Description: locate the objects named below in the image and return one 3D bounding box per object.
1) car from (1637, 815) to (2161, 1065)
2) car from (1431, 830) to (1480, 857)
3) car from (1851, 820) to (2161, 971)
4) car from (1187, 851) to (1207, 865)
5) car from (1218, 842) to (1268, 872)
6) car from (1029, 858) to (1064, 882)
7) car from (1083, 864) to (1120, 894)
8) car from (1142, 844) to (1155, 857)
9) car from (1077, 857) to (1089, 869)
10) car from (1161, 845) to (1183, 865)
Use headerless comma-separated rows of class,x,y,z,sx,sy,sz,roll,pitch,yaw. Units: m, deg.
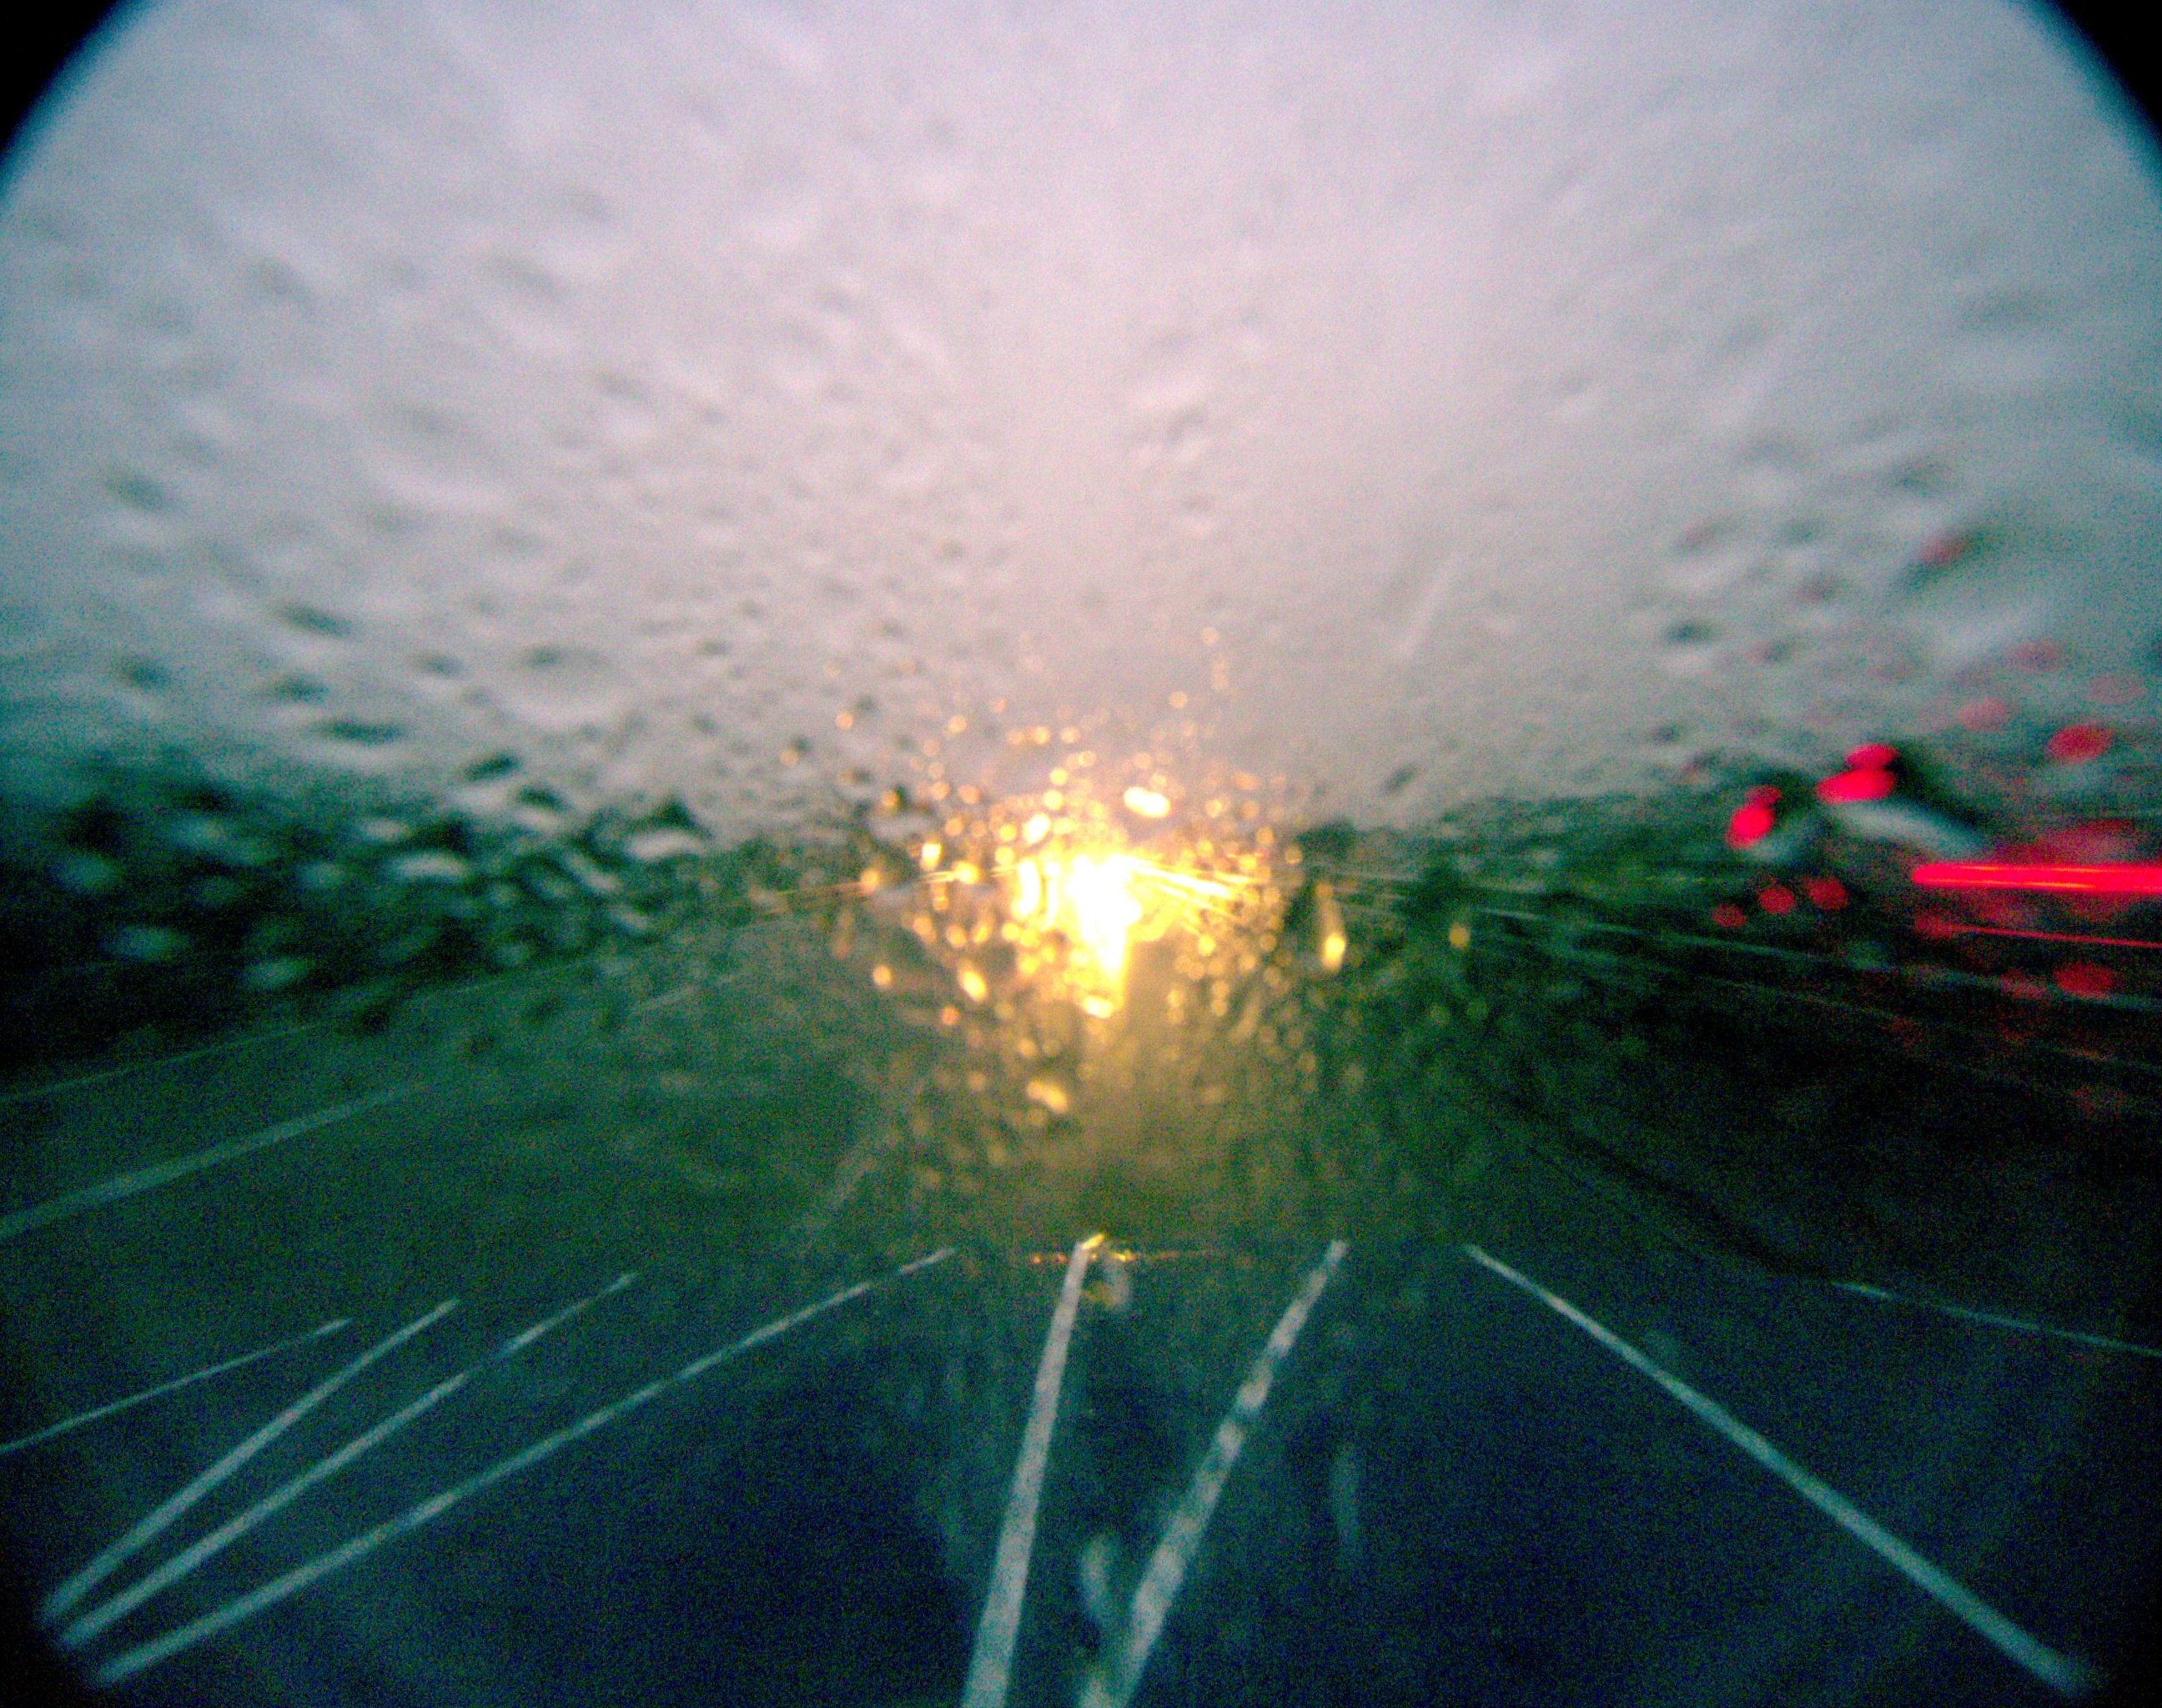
car,7.541,0.537,6.784,1.822,1.542,4.468,-1,-1,-1
car,30.006,-0.806,61.007,1.998,2.002,4.000,-2,0,1
car,11.943,0.409,8.576,1.989,1.542,4.392,-1,-1,-1
car,14.190,0.475,92.901,1.840,1.626,4.546,-1,-1,2
car,8.894,0.168,42.010,1.998,1.542,4.137,-1,-1,2
car,-2.300,1.089,51.584,1.850,1.521,4.150,-1,-1,3
car,1.189,1.347,41.637,1.850,1.521,4.150,-1,-1,3
car,12.086,-0.575,135.862,1.998,2.202,5.053,-2,0,3
car,0.385,1.678,135.829,1.998,2.002,4.000,-2,0,2
car,10.243,0.132,86.112,1.998,2.123,5.200,-1,-1,2
